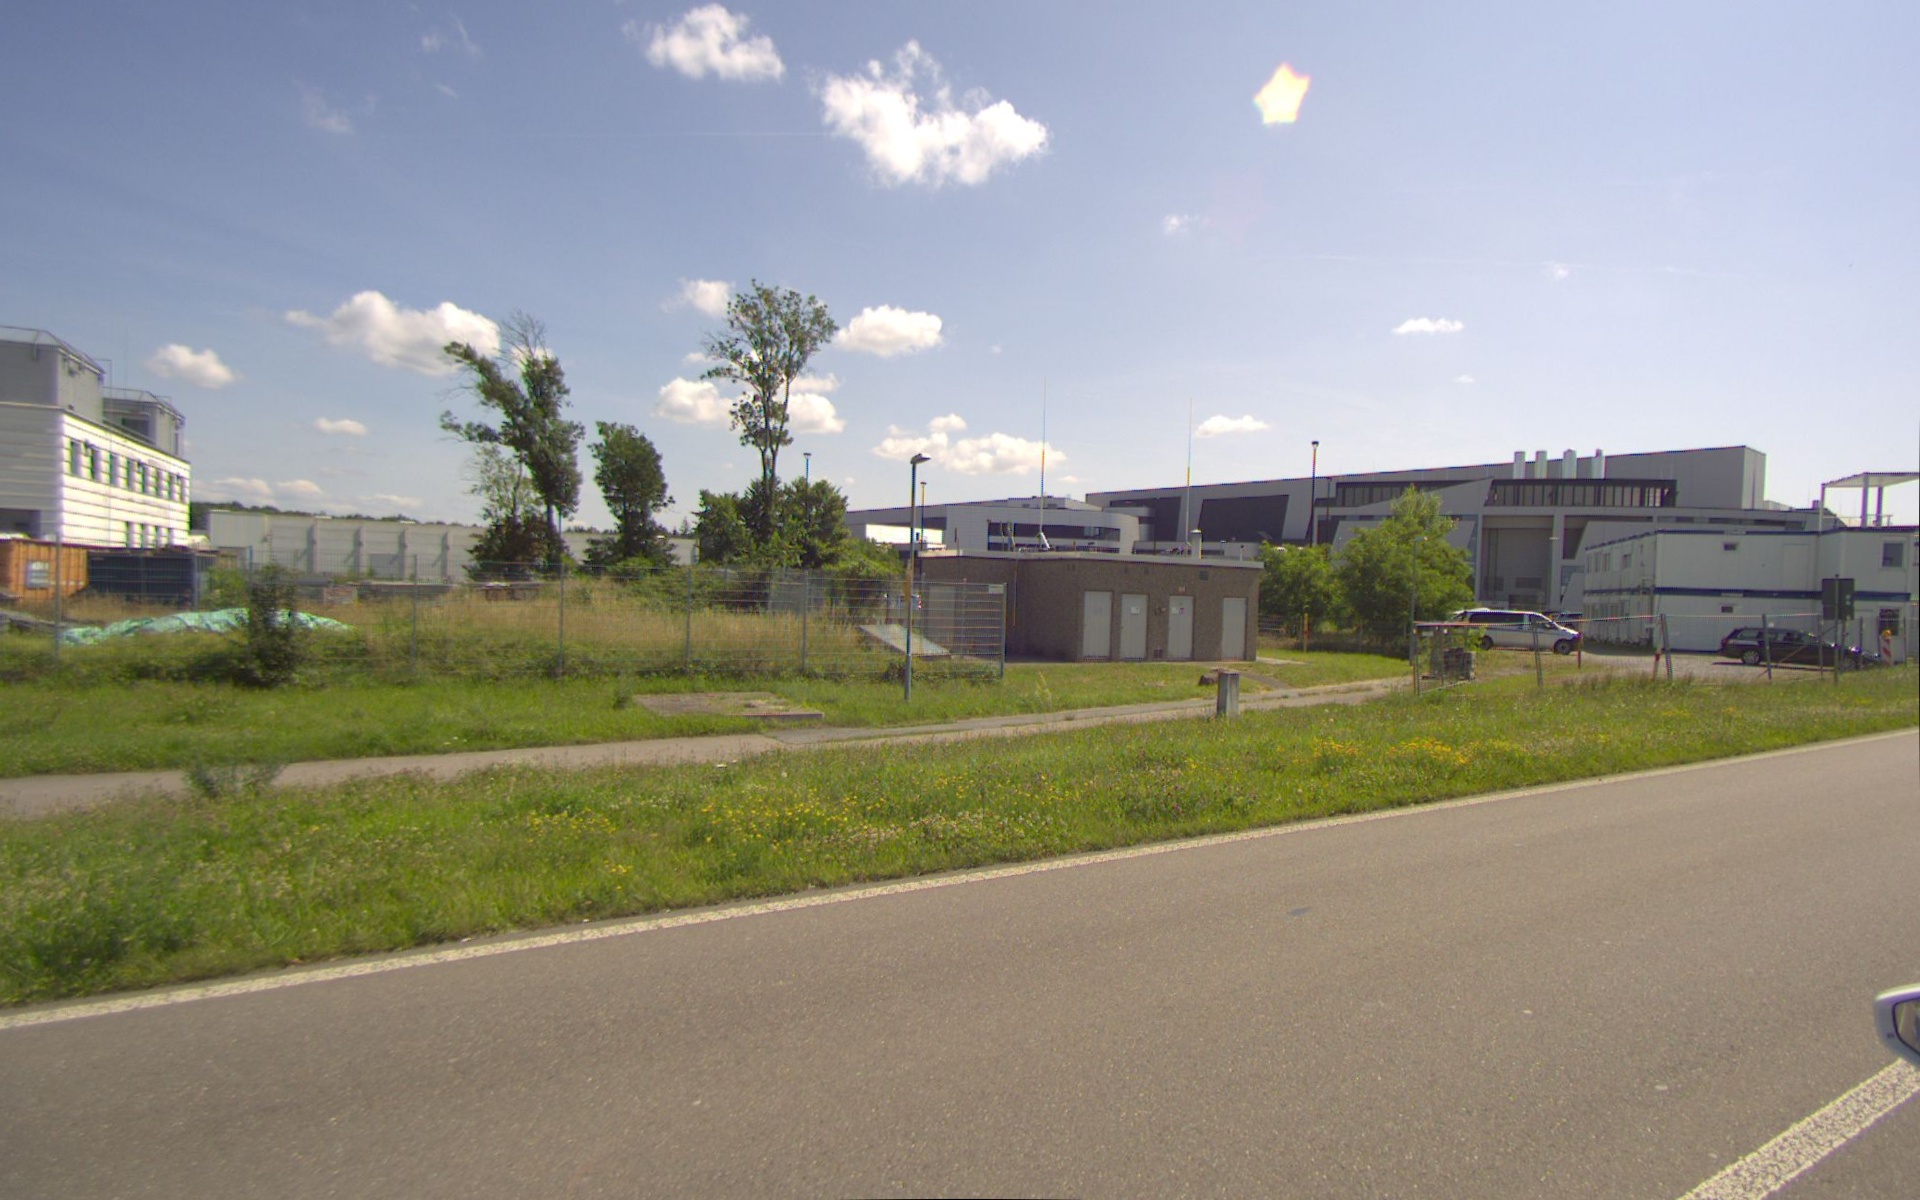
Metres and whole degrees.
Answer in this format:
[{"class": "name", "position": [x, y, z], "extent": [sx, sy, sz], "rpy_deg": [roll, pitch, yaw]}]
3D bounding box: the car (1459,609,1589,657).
[{"class": "car", "position": [25.858, 1.482, 46.241], "extent": [4.924, 1.892, 1.999], "rpy_deg": [2, 1, 22]}]

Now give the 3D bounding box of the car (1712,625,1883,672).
[{"class": "car", "position": [32.122, 1.805, 38.667], "extent": [4.913, 1.436, 1.989], "rpy_deg": [2, 1, 42]}]

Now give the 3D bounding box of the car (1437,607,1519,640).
[{"class": "car", "position": [33.017, 1.473, 64.147], "extent": [4.226, 1.892, 2.001], "rpy_deg": [2, 1, 11]}]

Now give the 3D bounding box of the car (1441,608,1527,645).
[{"class": "car", "position": [30.852, 1.535, 59.316], "extent": [4.230, 1.974, 1.999], "rpy_deg": [2, 1, 22]}]
